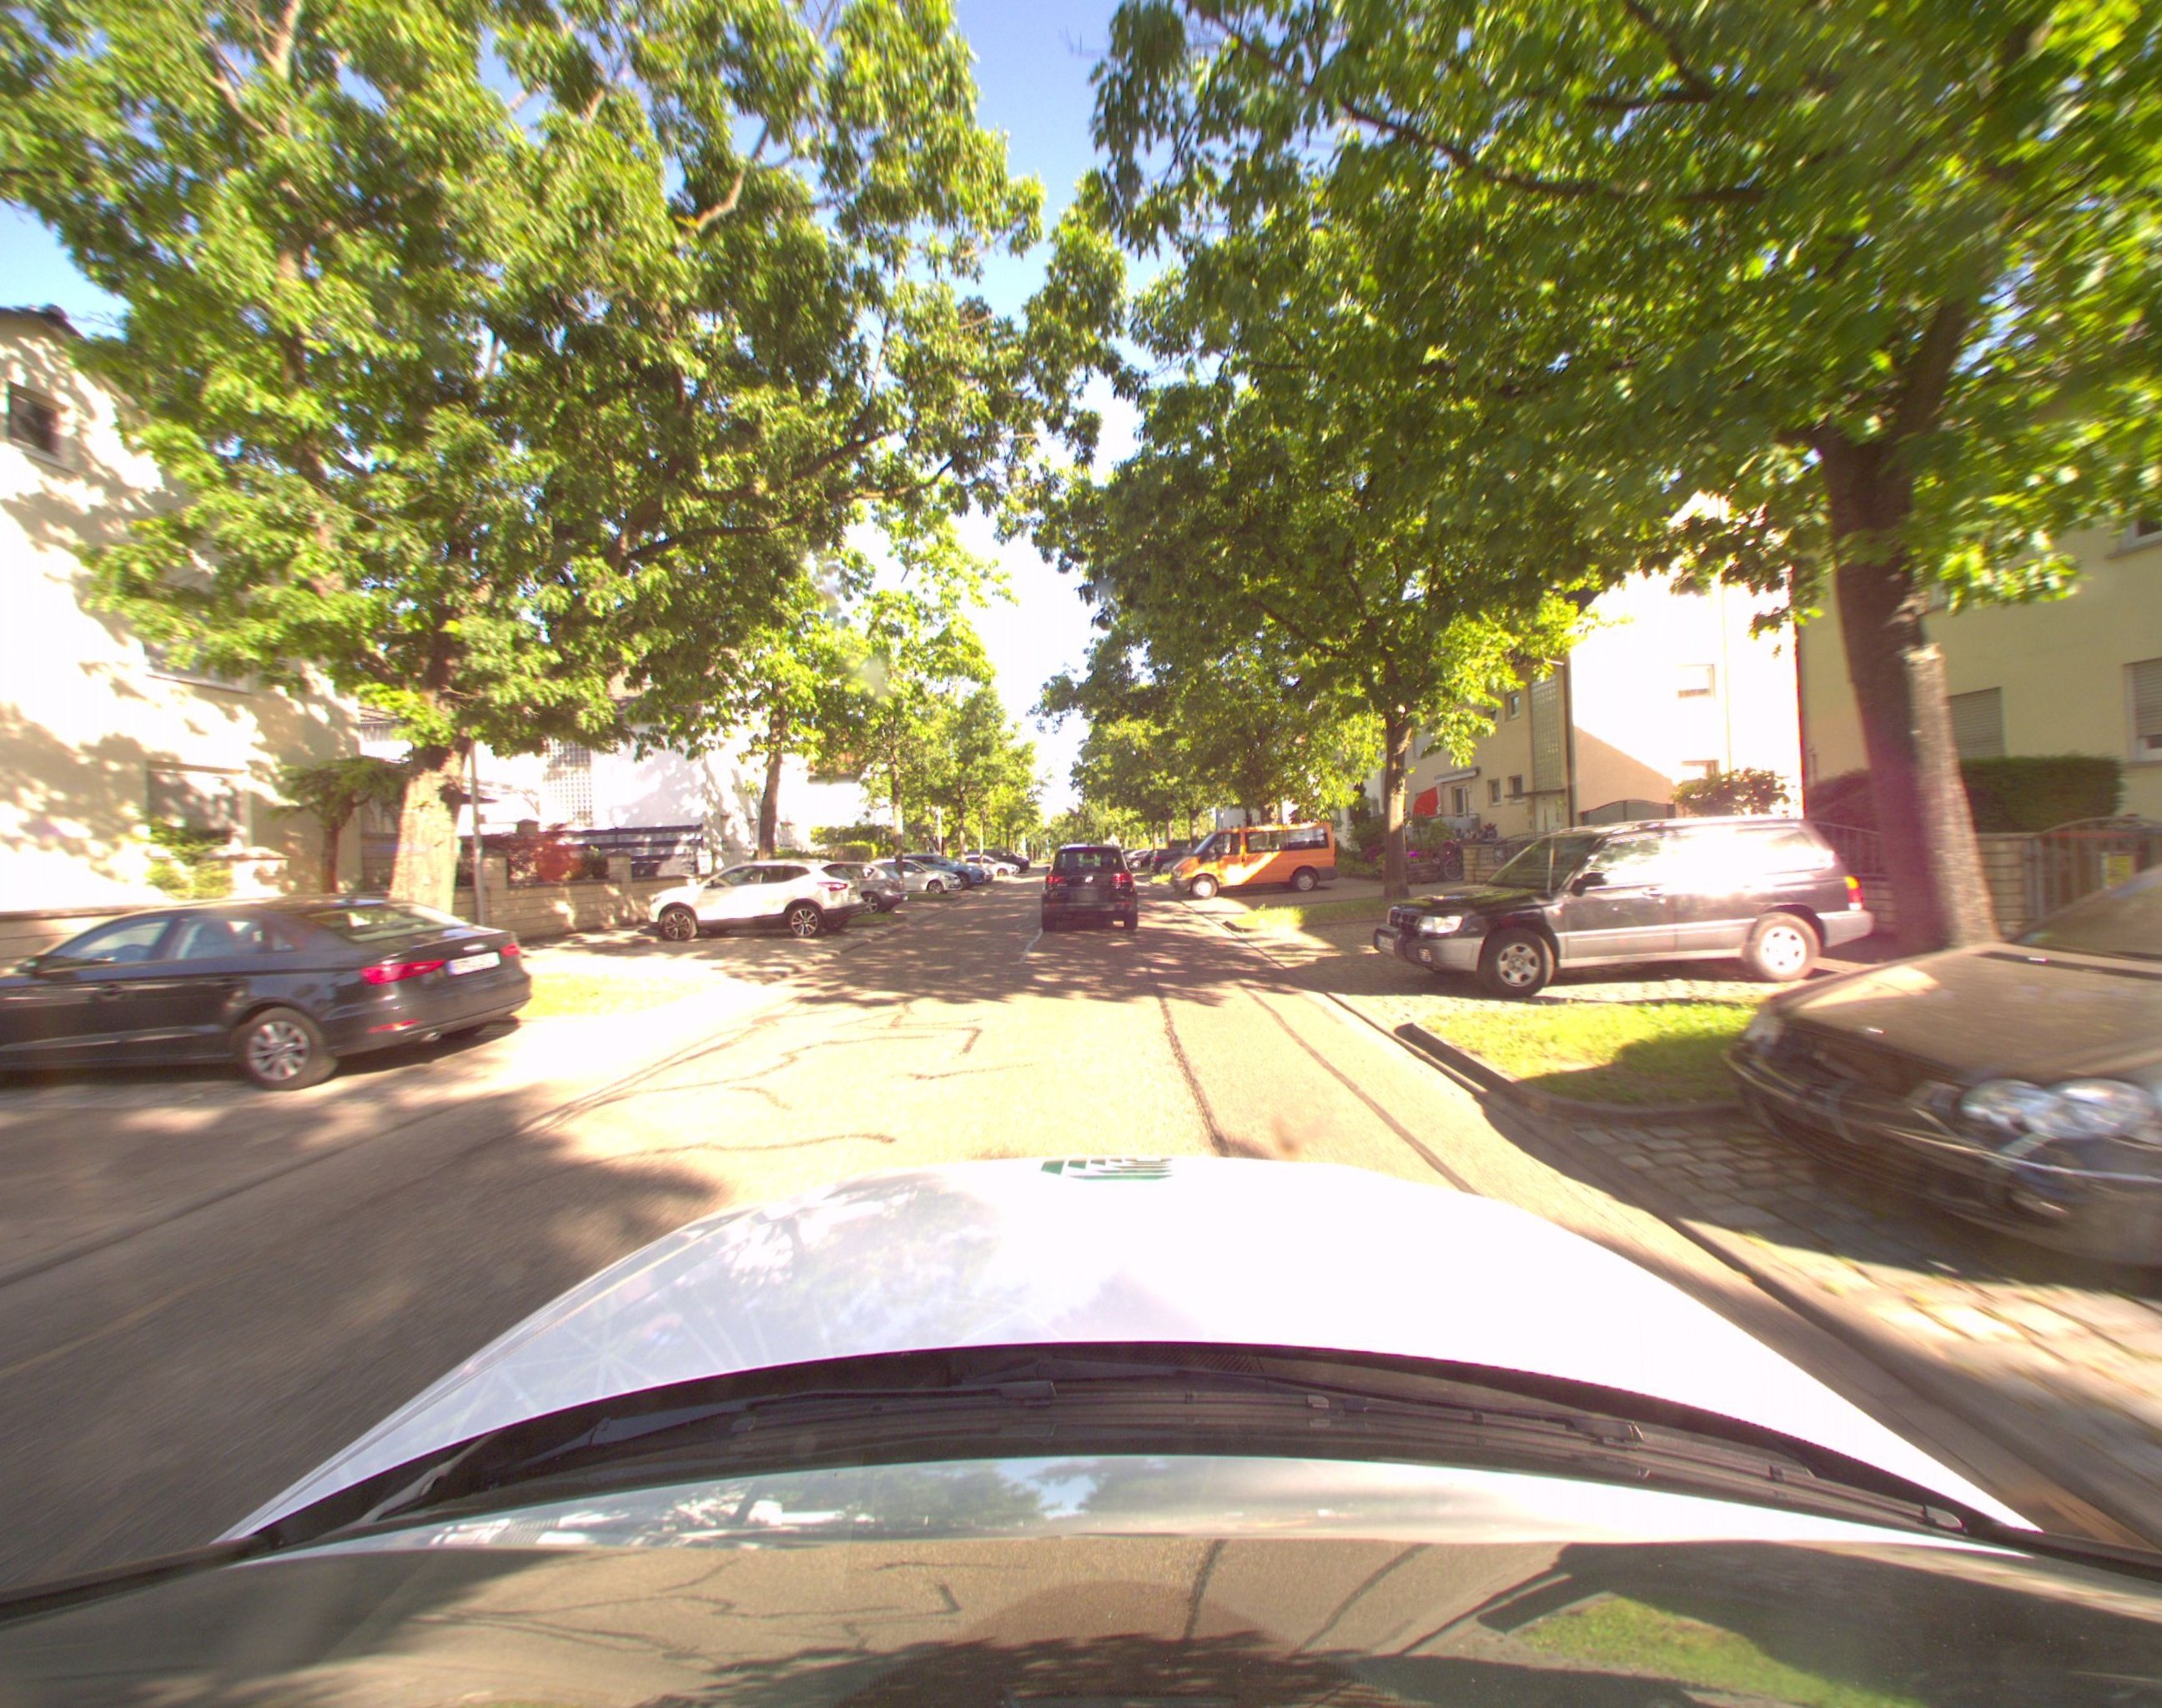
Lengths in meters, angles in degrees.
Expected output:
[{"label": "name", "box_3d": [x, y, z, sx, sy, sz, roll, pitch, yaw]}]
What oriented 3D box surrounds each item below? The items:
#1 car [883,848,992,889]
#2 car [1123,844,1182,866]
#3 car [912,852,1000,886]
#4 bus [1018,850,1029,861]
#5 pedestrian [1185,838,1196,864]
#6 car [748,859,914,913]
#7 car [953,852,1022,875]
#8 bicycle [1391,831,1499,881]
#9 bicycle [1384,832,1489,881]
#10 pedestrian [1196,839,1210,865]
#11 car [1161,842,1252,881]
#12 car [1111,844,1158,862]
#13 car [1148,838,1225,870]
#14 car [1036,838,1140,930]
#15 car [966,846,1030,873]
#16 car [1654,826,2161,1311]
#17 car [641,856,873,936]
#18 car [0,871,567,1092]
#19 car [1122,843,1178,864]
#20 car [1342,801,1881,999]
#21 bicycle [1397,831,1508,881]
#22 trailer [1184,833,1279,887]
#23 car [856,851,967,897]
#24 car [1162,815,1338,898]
[{"label": "car", "box_3d": [-6.443, 0.658, 37.017, 4.508, 1.631, 1.937, -3, -1, 0]}, {"label": "car", "box_3d": [5.446, 0.085, 62.439, 4.333, 1.363, 1.873, -3, -1, -1]}, {"label": "car", "box_3d": [-6.378, 0.768, 41.826, 4.168, 1.492, 1.647, -3, -1, 0]}, {"label": "bus", "box_3d": [-16.778, 0.415, 237.557, 2.923, 3.004, 5.728, -2, -1, -4]}, {"label": "pedestrian", "box_3d": [7.908, -0.210, 58.936, 0.606, 1.873, 0.924, -2, -1, 2]}, {"label": "car", "box_3d": [-6.858, 0.849, 22.629, 4.022, 1.423, 1.809, 0, 0, -1]}, {"label": "car", "box_3d": [-6.131, 0.615, 53.631, 4.262, 1.478, 1.768, -1, 0, 0]}, {"label": "bicycle", "box_3d": [10.599, 0.065, 23.729, 2.848, 1.237, 0.468, -4, -1, 1]}, {"label": "bicycle", "box_3d": [10.567, 0.074, 24.225, 2.848, 1.237, 0.468, -4, 0, 1]}, {"label": "pedestrian", "box_3d": [8.825, -0.159, 58.825, 0.832, 1.828, 0.711, -2, -1, 1]}, {"label": "car", "box_3d": [5.869, 0.345, 38.498, 3.974, 1.623, 1.757, -2, -1, 0]}, {"label": "car", "box_3d": [5.139, -0.074, 78.884, 4.414, 1.491, 1.796, -3, 0, 0]}, {"label": "car", "box_3d": [5.598, 0.037, 43.607, 3.869, 1.516, 1.661, -3, -1, 0]}, {"label": "car", "box_3d": [0.224, 0.553, 16.759, 1.830, 1.636, 3.961, -2, 0, 3]}, {"label": "car", "box_3d": [-6.505, 0.435, 64.126, 4.766, 1.916, 2.017, -3, 0, -2]}, {"label": "car", "box_3d": [5.097, 0.545, 3.179, 4.409, 1.331, 1.692, -4, 0, 3]}, {"label": "car", "box_3d": [-6.765, 0.846, 17.305, 4.171, 1.567, 1.793, -1, 0, 2]}, {"label": "car", "box_3d": [-7.072, 0.997, 6.959, 4.196, 1.471, 1.691, -3, 0, 0]}, {"label": "car", "box_3d": [5.514, -0.031, 65.178, 4.263, 1.414, 1.796, -3, 0, 0]}, {"label": "car", "box_3d": [5.200, 0.426, 8.456, 4.324, 1.560, 1.867, -4, 0, 0]}, {"label": "bicycle", "box_3d": [10.582, 0.070, 23.241, 2.848, 1.237, 0.468, -4, -1, 1]}, {"label": "trailer", "box_3d": [5.401, 0.221, 29.367, 2.941, 1.664, 1.612, -4, -1, -6]}, {"label": "car", "box_3d": [-6.709, 0.782, 32.538, 3.973, 1.595, 1.857, -3, -1, 0]}, {"label": "car", "box_3d": [4.971, 0.062, 24.544, 4.802, 2.083, 2.086, -4, 0, 0]}]
